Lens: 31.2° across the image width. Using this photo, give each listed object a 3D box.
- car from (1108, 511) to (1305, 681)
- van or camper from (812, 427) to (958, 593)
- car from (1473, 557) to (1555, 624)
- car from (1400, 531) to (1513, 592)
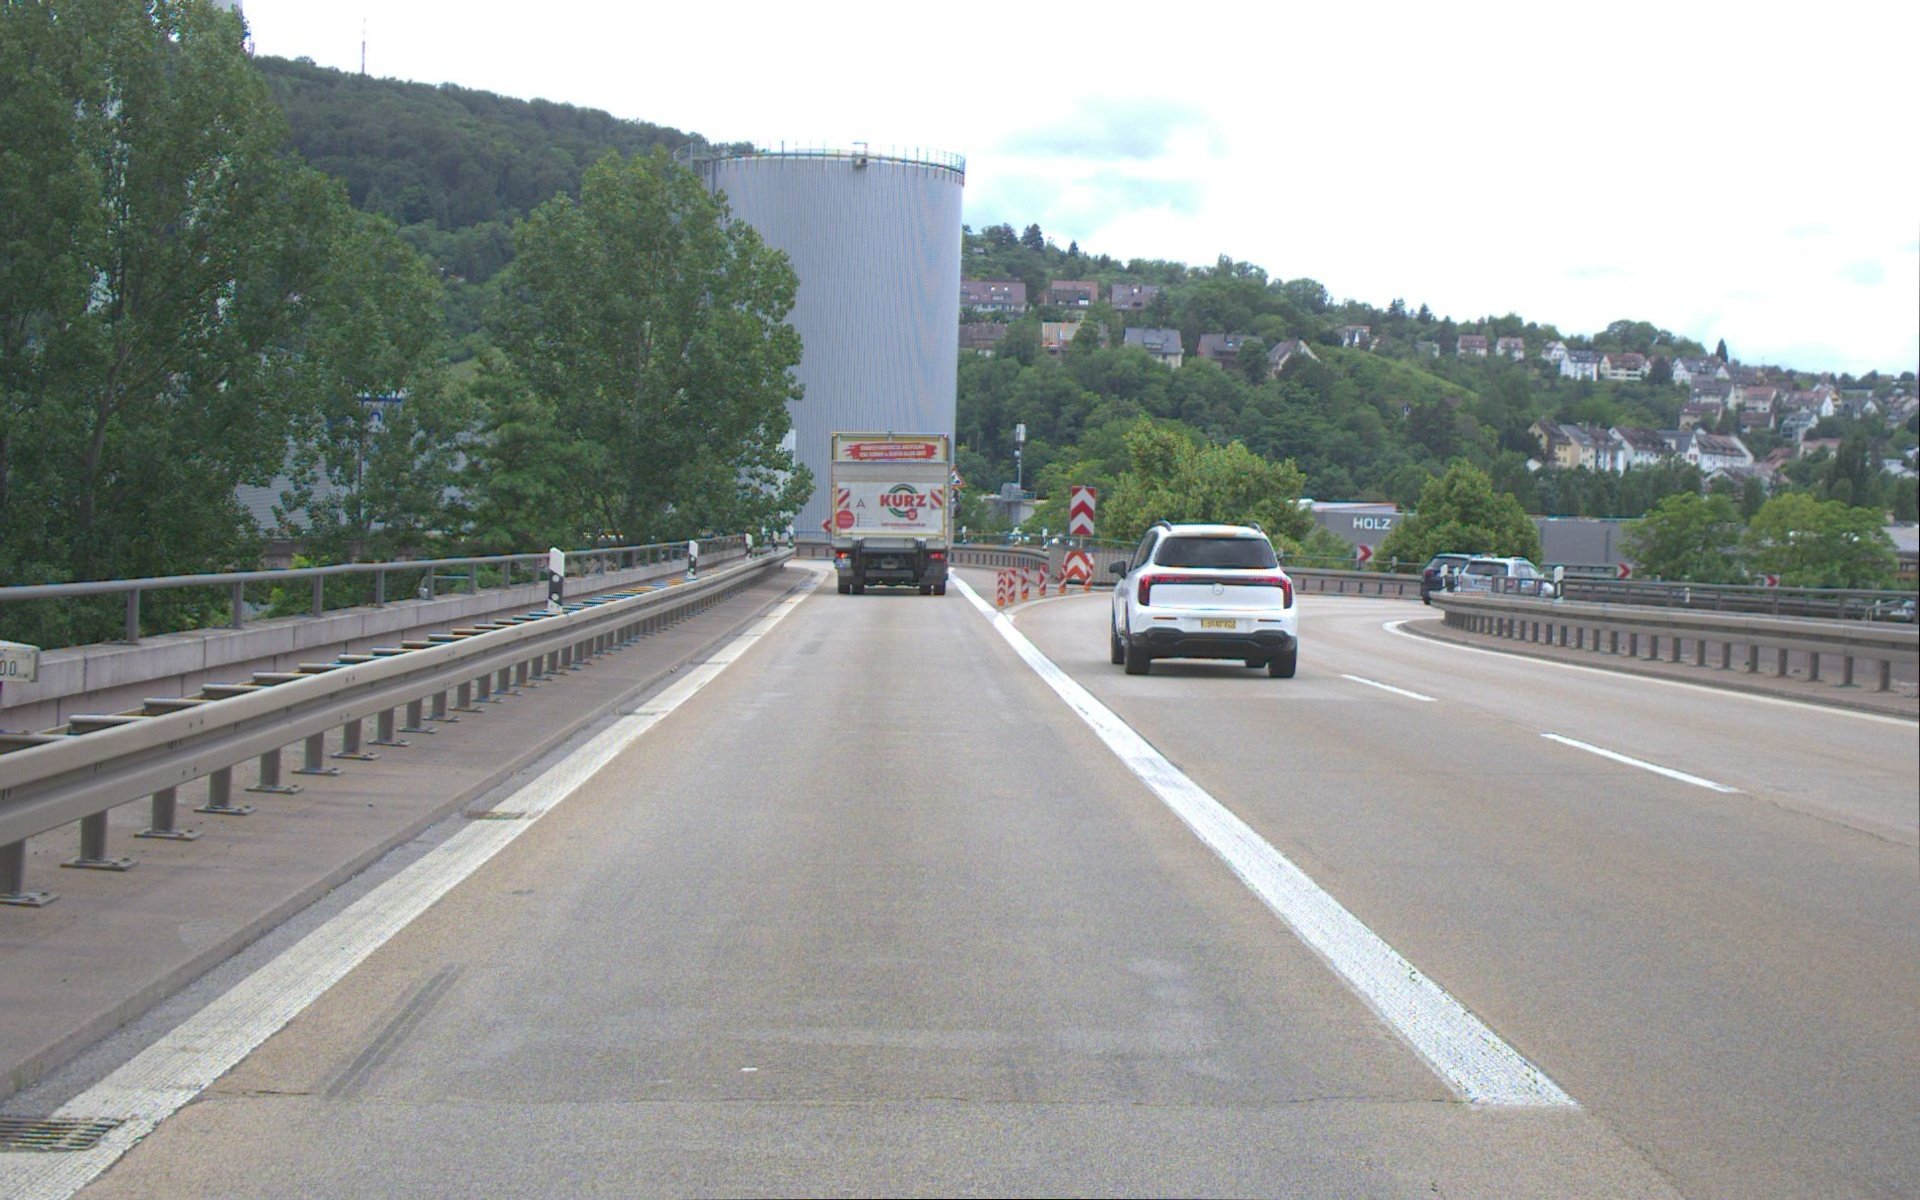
[{"bbox_3d":[2.727,-0.097,38.823,1.924,1.779,4.113,1,2,0],"label":"car"},{"bbox_3d":[-1.631,-2.021,78.427,3.122,3.567,8.551,1,1,0],"label":"van or camper"},{"bbox_3d":[15.764,-0.294,97.687,1.925,1.779,4.111,1,2,14],"label":"car"},{"bbox_3d":[15.236,-1.198,105.311,1.927,1.779,4.106,2,2,32],"label":"car"}]
